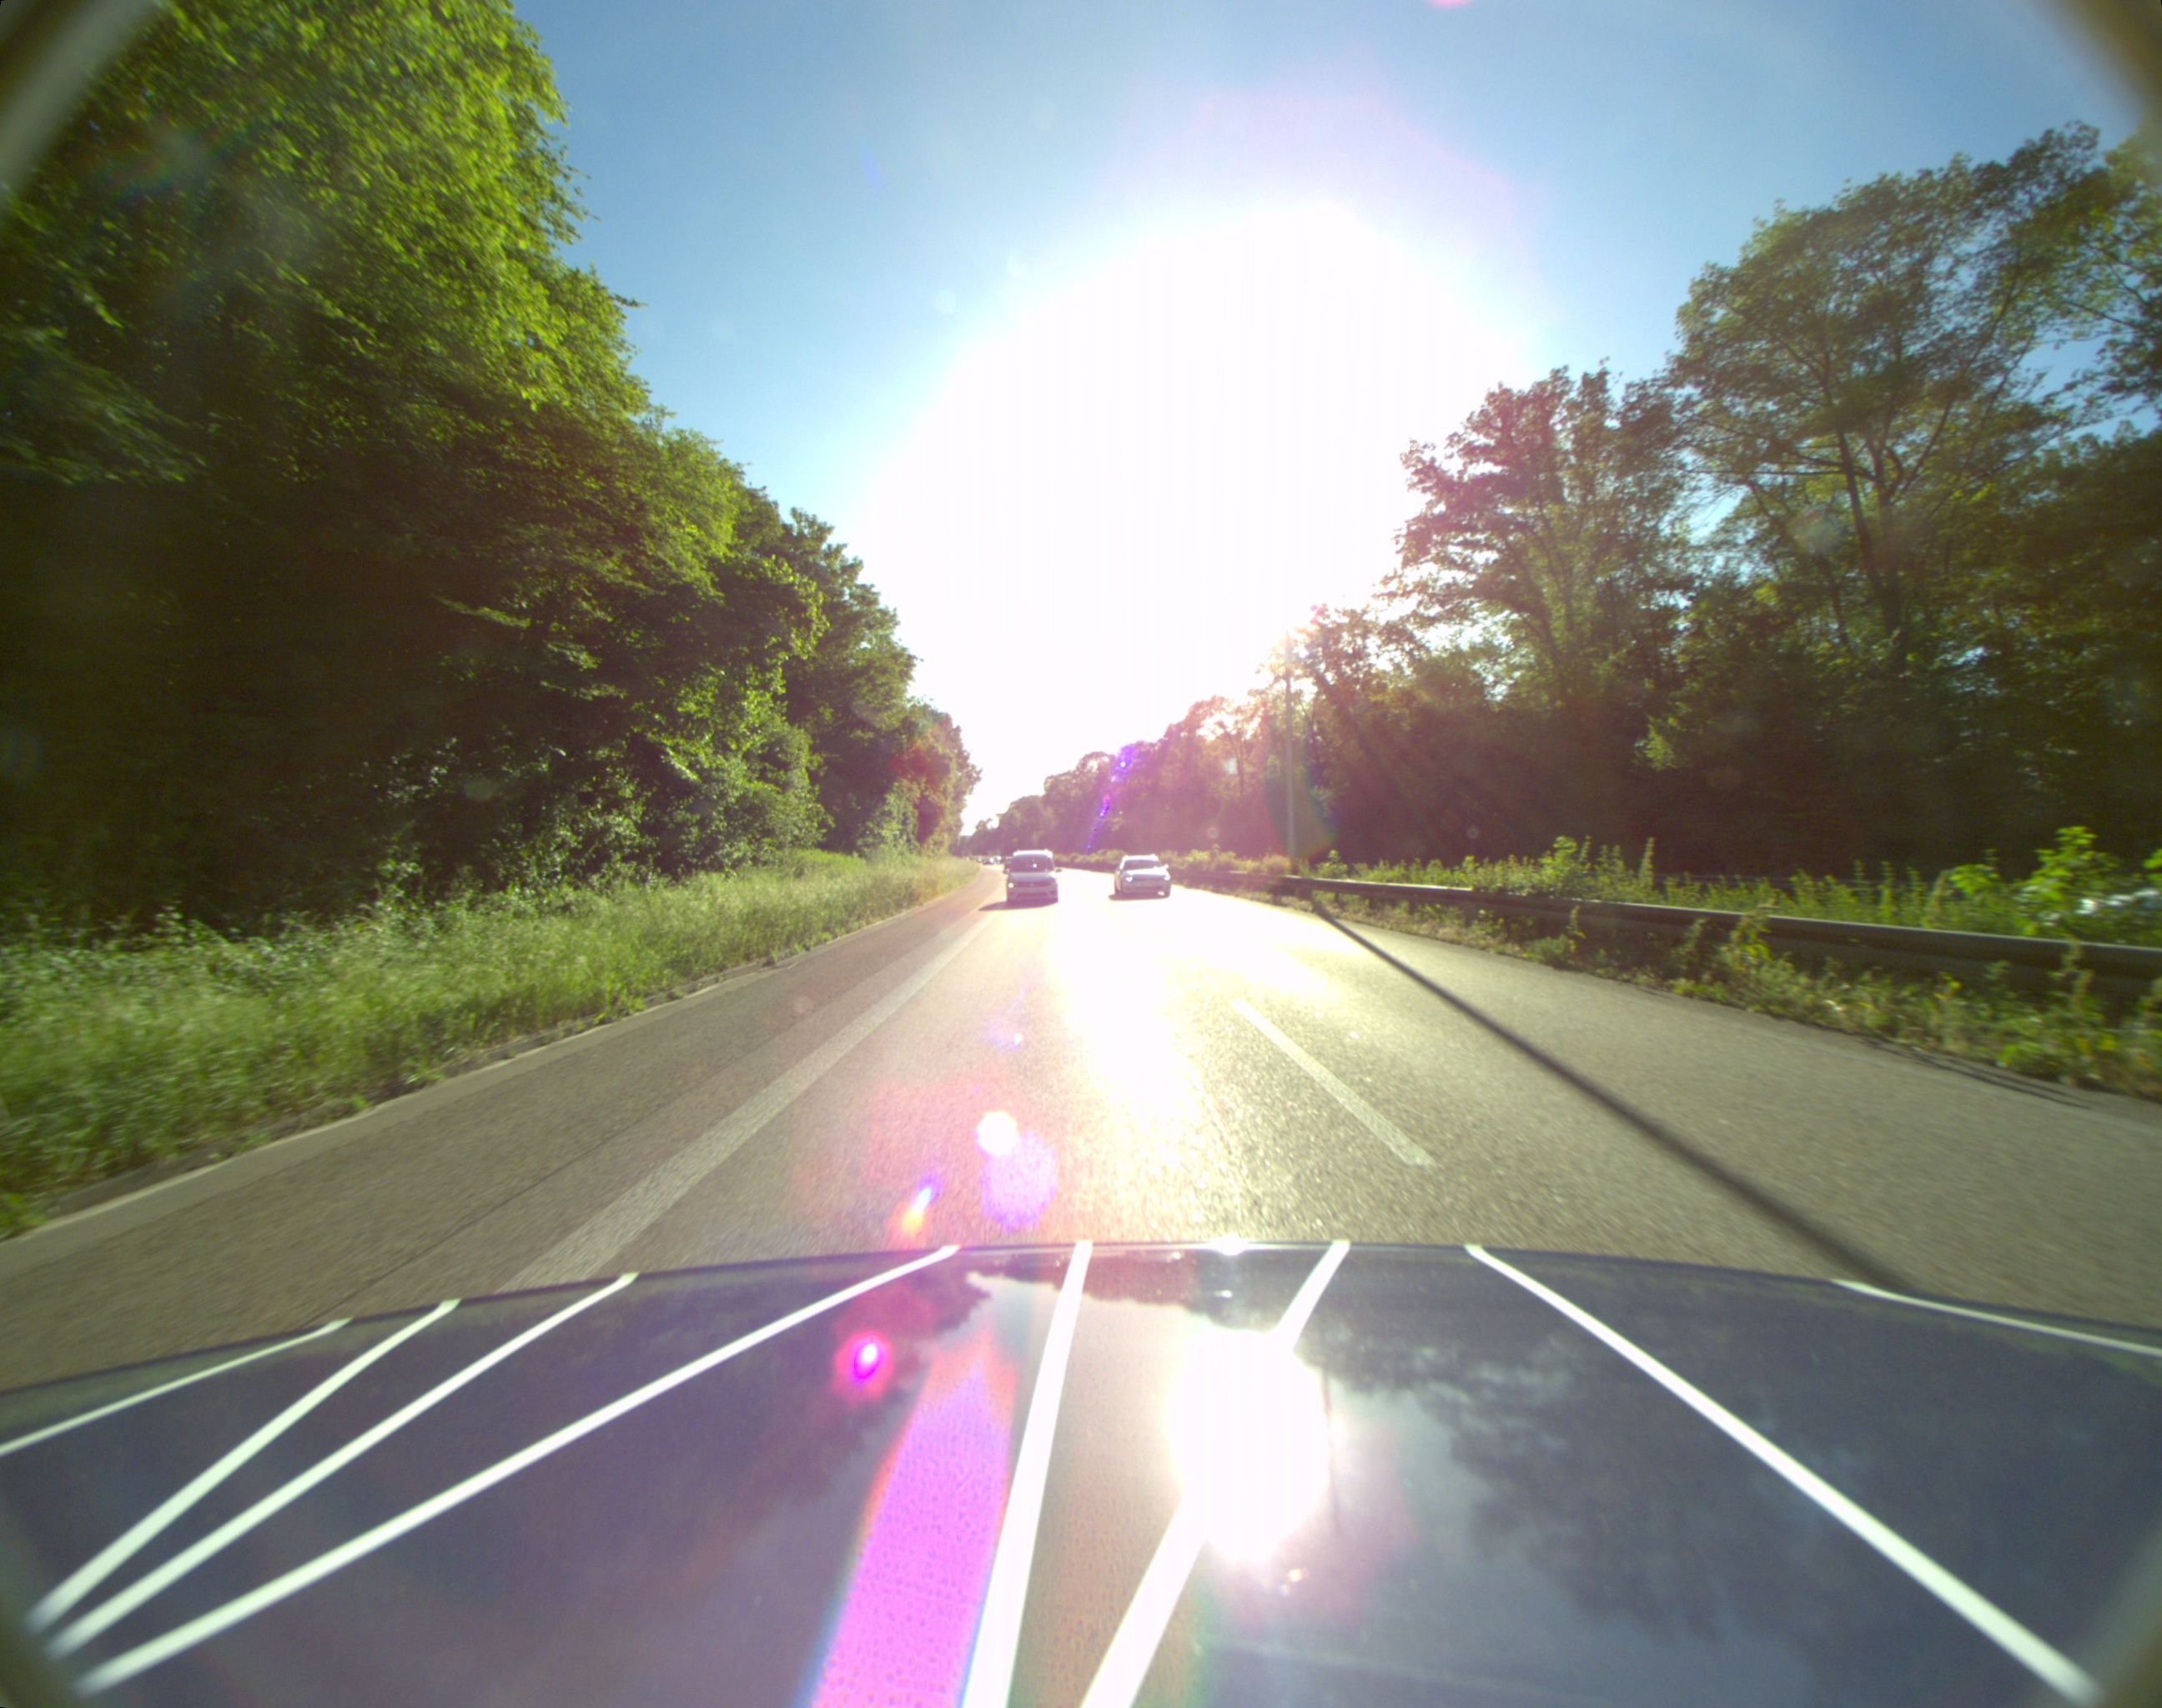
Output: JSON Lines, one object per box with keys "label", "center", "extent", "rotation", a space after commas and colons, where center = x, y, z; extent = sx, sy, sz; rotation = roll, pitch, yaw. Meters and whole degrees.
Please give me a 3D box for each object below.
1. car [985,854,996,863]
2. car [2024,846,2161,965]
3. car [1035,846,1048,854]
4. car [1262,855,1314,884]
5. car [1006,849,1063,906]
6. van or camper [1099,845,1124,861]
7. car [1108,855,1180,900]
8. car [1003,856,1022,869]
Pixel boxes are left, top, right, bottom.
{"label": "car", "center": [-17.130, 0.865, 143.628], "extent": [1.935, 1.500, 5.079], "rotation": [-3, 3, -9]}
{"label": "car", "center": [15.087, 0.682, 8.705], "extent": [1.999, 1.477, 5.237], "rotation": [-2, 1, -2]}
{"label": "car", "center": [-8.116, -0.791, 155.728], "extent": [1.887, 1.505, 4.352], "rotation": [-2, 1, -12]}
{"label": "car", "center": [13.665, 0.975, 50.414], "extent": [1.999, 1.775, 4.293], "rotation": [-2, 1, -4]}
{"label": "car", "center": [-1.687, 0.745, 27.315], "extent": [1.800, 1.796, 4.831], "rotation": [-2, 1, -4]}
{"label": "van or camper", "center": [3.863, -0.159, 96.429], "extent": [2.150, 2.002, 5.575], "rotation": [-1, 0, -9]}
{"label": "car", "center": [2.310, 0.853, 29.271], "extent": [1.935, 1.499, 5.597], "rotation": [-2, 0, -4]}
{"label": "car", "center": [-8.267, 1.038, 90.890], "extent": [1.936, 1.499, 5.082], "rotation": [1, -1, -9]}
